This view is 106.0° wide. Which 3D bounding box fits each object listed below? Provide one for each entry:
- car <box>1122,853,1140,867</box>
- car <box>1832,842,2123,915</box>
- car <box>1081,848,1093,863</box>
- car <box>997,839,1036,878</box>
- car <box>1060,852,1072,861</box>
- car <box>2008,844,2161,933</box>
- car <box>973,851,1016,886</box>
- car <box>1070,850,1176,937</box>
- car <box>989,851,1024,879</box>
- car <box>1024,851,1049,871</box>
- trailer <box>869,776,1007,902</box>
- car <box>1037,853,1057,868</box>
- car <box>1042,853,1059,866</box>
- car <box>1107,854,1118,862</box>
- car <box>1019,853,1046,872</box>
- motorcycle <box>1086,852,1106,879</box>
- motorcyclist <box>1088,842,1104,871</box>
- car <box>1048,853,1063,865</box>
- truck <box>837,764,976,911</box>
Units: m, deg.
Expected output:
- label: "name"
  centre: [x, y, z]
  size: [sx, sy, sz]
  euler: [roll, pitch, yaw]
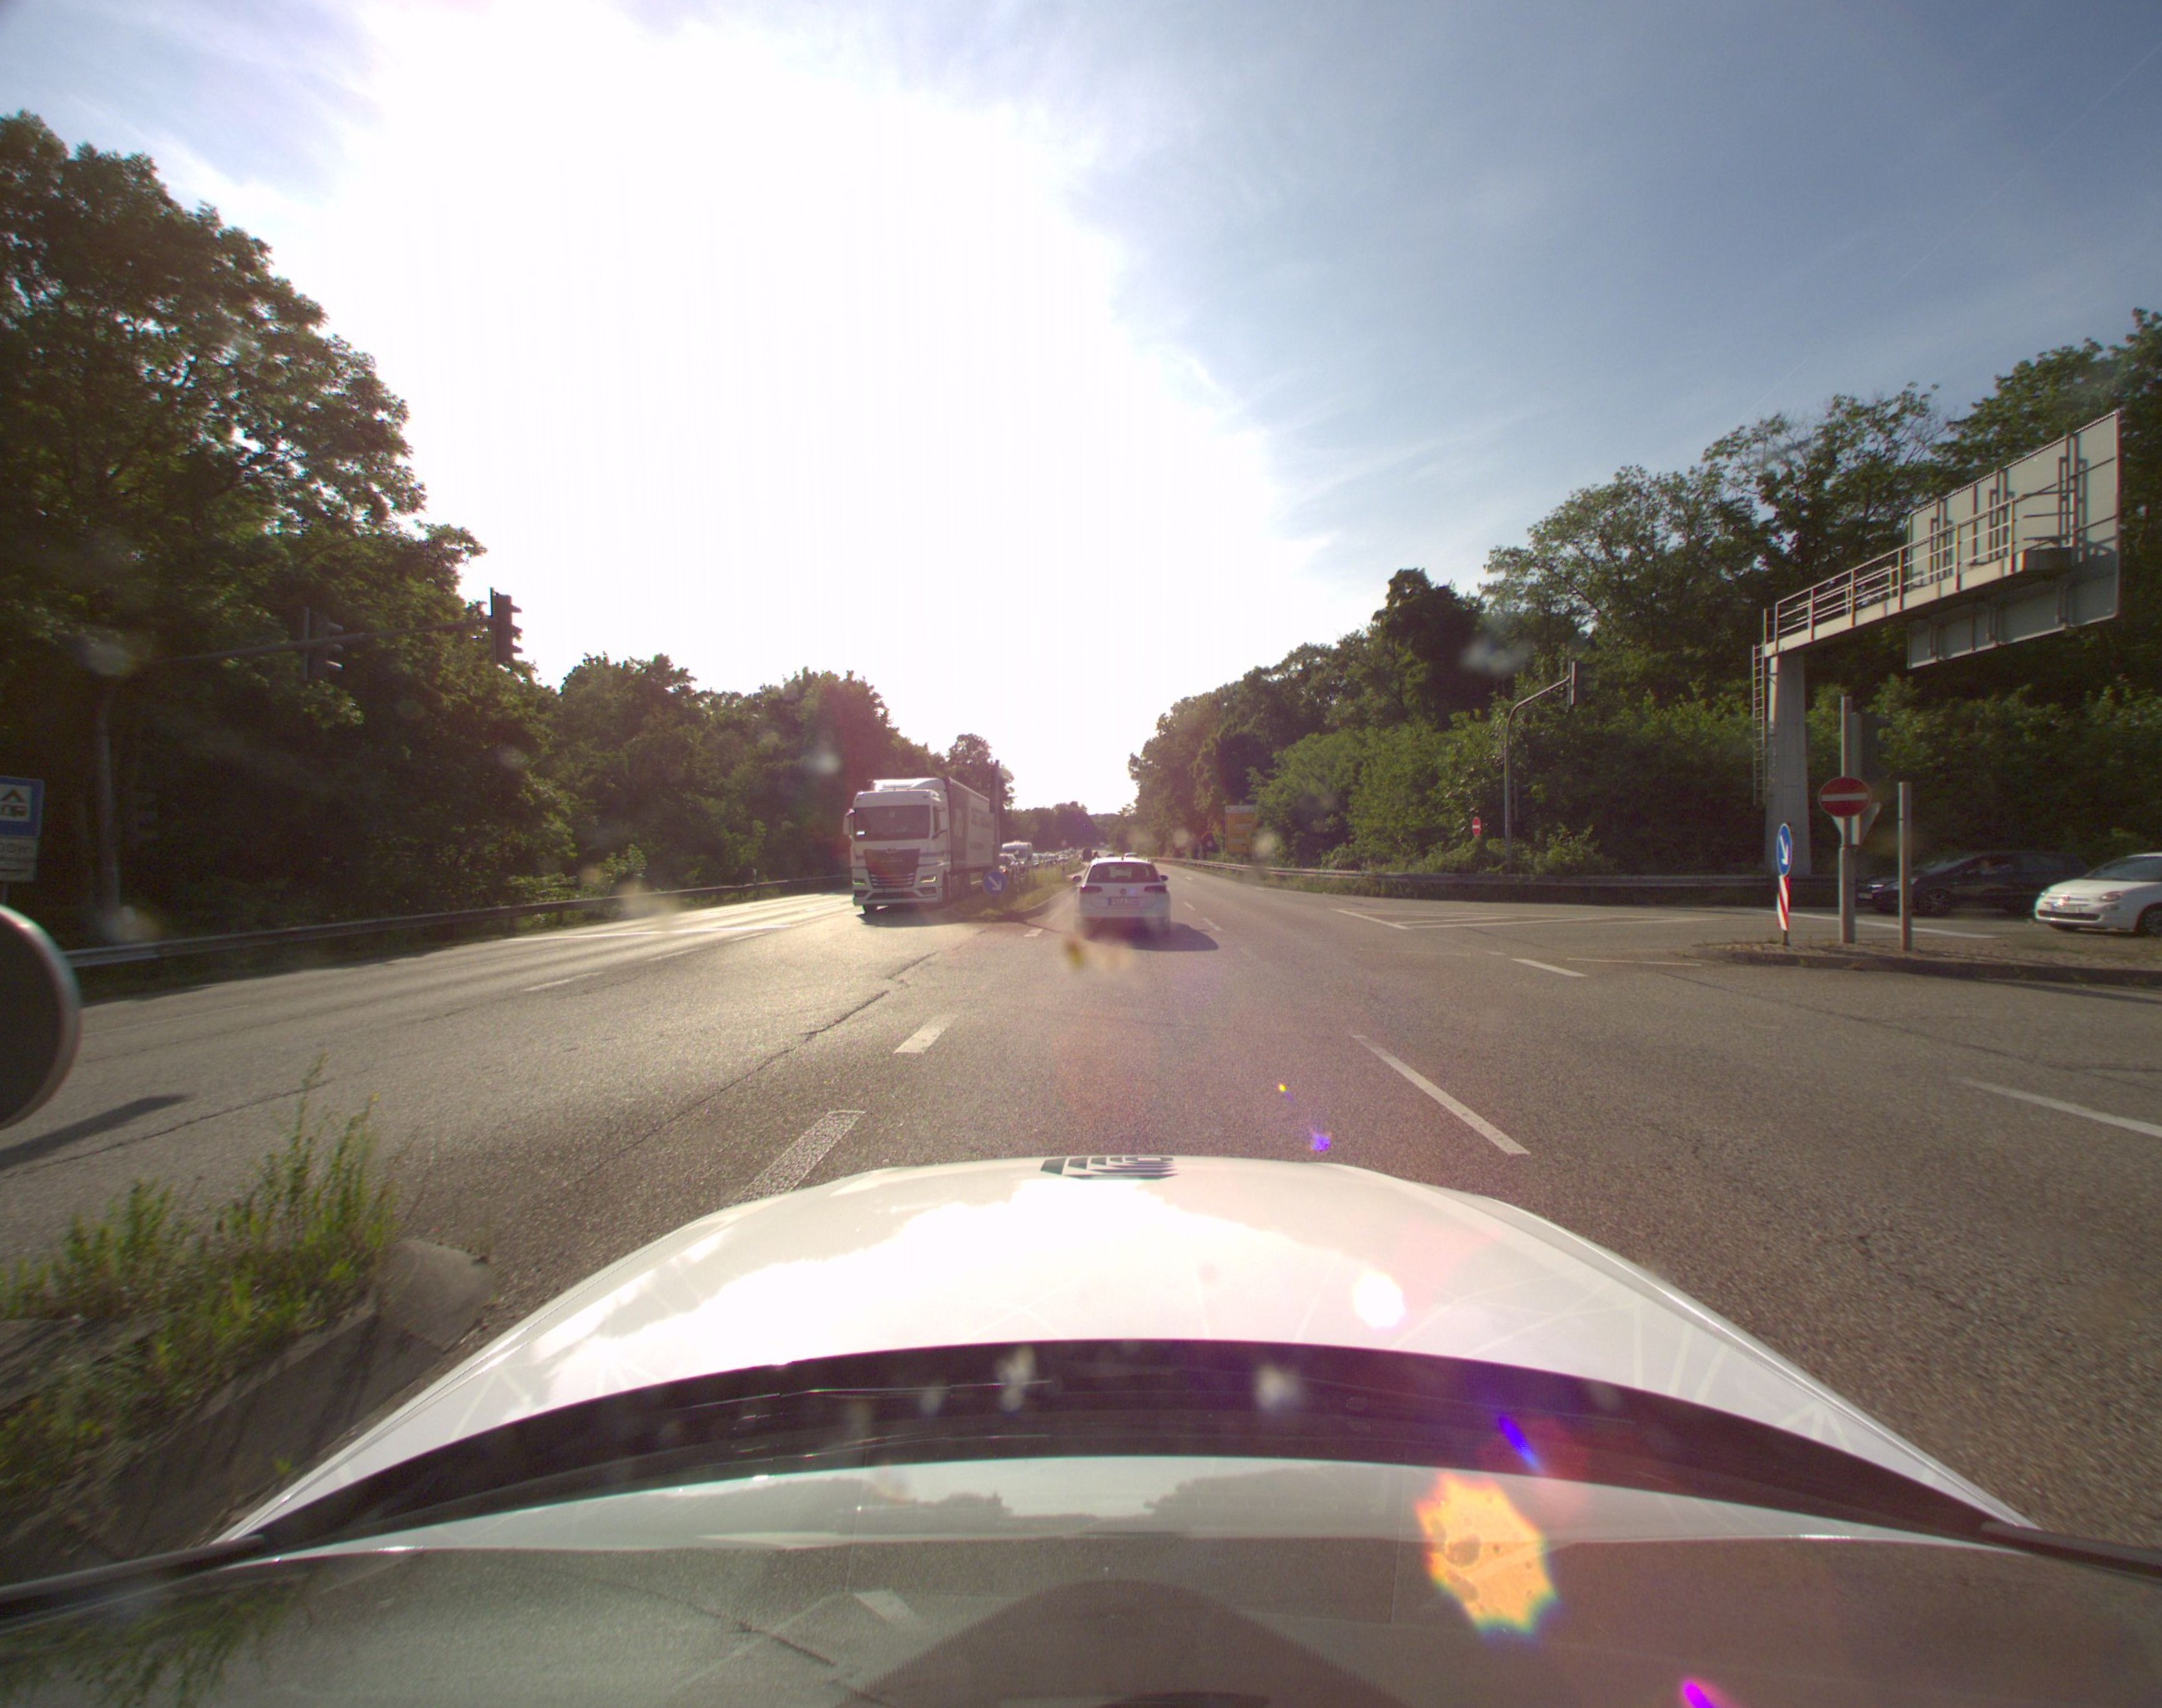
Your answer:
- label: "car"
  centre: [5.256, 0.632, 85.944]
  size: [1.754, 1.380, 3.974]
  euler: [0, 0, 2]
- label: "car"
  centre: [20.060, 0.496, 18.485]
  size: [4.072, 1.496, 1.795]
  euler: [0, 1, 25]
- label: "car"
  centre: [1.170, 0.227, 162.391]
  size: [2.202, 2.888, 7.013]
  euler: [-2, 0, 1]
- label: "car"
  centre: [-4.546, 0.281, 58.652]
  size: [2.067, 2.533, 6.166]
  euler: [-2, 0, 1]
- label: "car"
  centre: [-2.589, 0.354, 141.636]
  size: [1.861, 1.417, 4.417]
  euler: [-2, 0, 1]
- label: "car"
  centre: [19.574, 0.574, 14.643]
  size: [3.580, 1.503, 1.811]
  euler: [0, 1, 5]
- label: "car"
  centre: [-4.509, 0.722, 42.967]
  size: [1.694, 1.631, 4.370]
  euler: [-2, 0, 0]
- label: "car"
  centre: [0.767, 0.682, 16.792]
  size: [1.863, 1.521, 4.834]
  euler: [0, 0, 1]
- label: "car"
  centre: [-4.596, 0.645, 50.812]
  size: [1.694, 1.631, 4.747]
  euler: [-2, 0, 0]
- label: "car"
  centre: [-3.975, 0.566, 73.596]
  size: [1.765, 1.669, 4.802]
  euler: [-2, 0, 1]
- label: "trailer"
  centre: [-5.218, -0.529, 33.162]
  size: [2.982, 3.995, 14.013]
  euler: [-1, 0, 0]
- label: "car"
  centre: [-3.725, 0.685, 88.896]
  size: [1.765, 1.423, 5.194]
  euler: [-2, 0, 1]
- label: "car"
  centre: [-3.529, 0.615, 95.896]
  size: [1.700, 1.423, 4.213]
  euler: [-2, 0, 1]
- label: "car"
  centre: [5.858, 0.784, 153.012]
  size: [1.740, 1.537, 3.922]
  euler: [0, 0, -3]
- label: "car"
  centre: [-3.958, 0.660, 66.794]
  size: [1.754, 1.456, 5.187]
  euler: [-2, 0, 1]
- label: "motorcycle"
  centre: [0.891, 0.636, 47.378]
  size: [0.905, 1.453, 2.691]
  euler: [-4, 1, 3]
- label: "motorcyclist"
  centre: [0.882, 0.138, 47.395]
  size: [0.880, 1.616, 1.291]
  euler: [0, 0, 3]
- label: "car"
  centre: [-3.334, 0.605, 107.815]
  size: [1.760, 1.417, 4.435]
  euler: [-2, 0, 1]
- label: "truck"
  centre: [-5.258, -0.489, 25.885]
  size: [2.882, 3.997, 6.720]
  euler: [-1, 0, 0]
